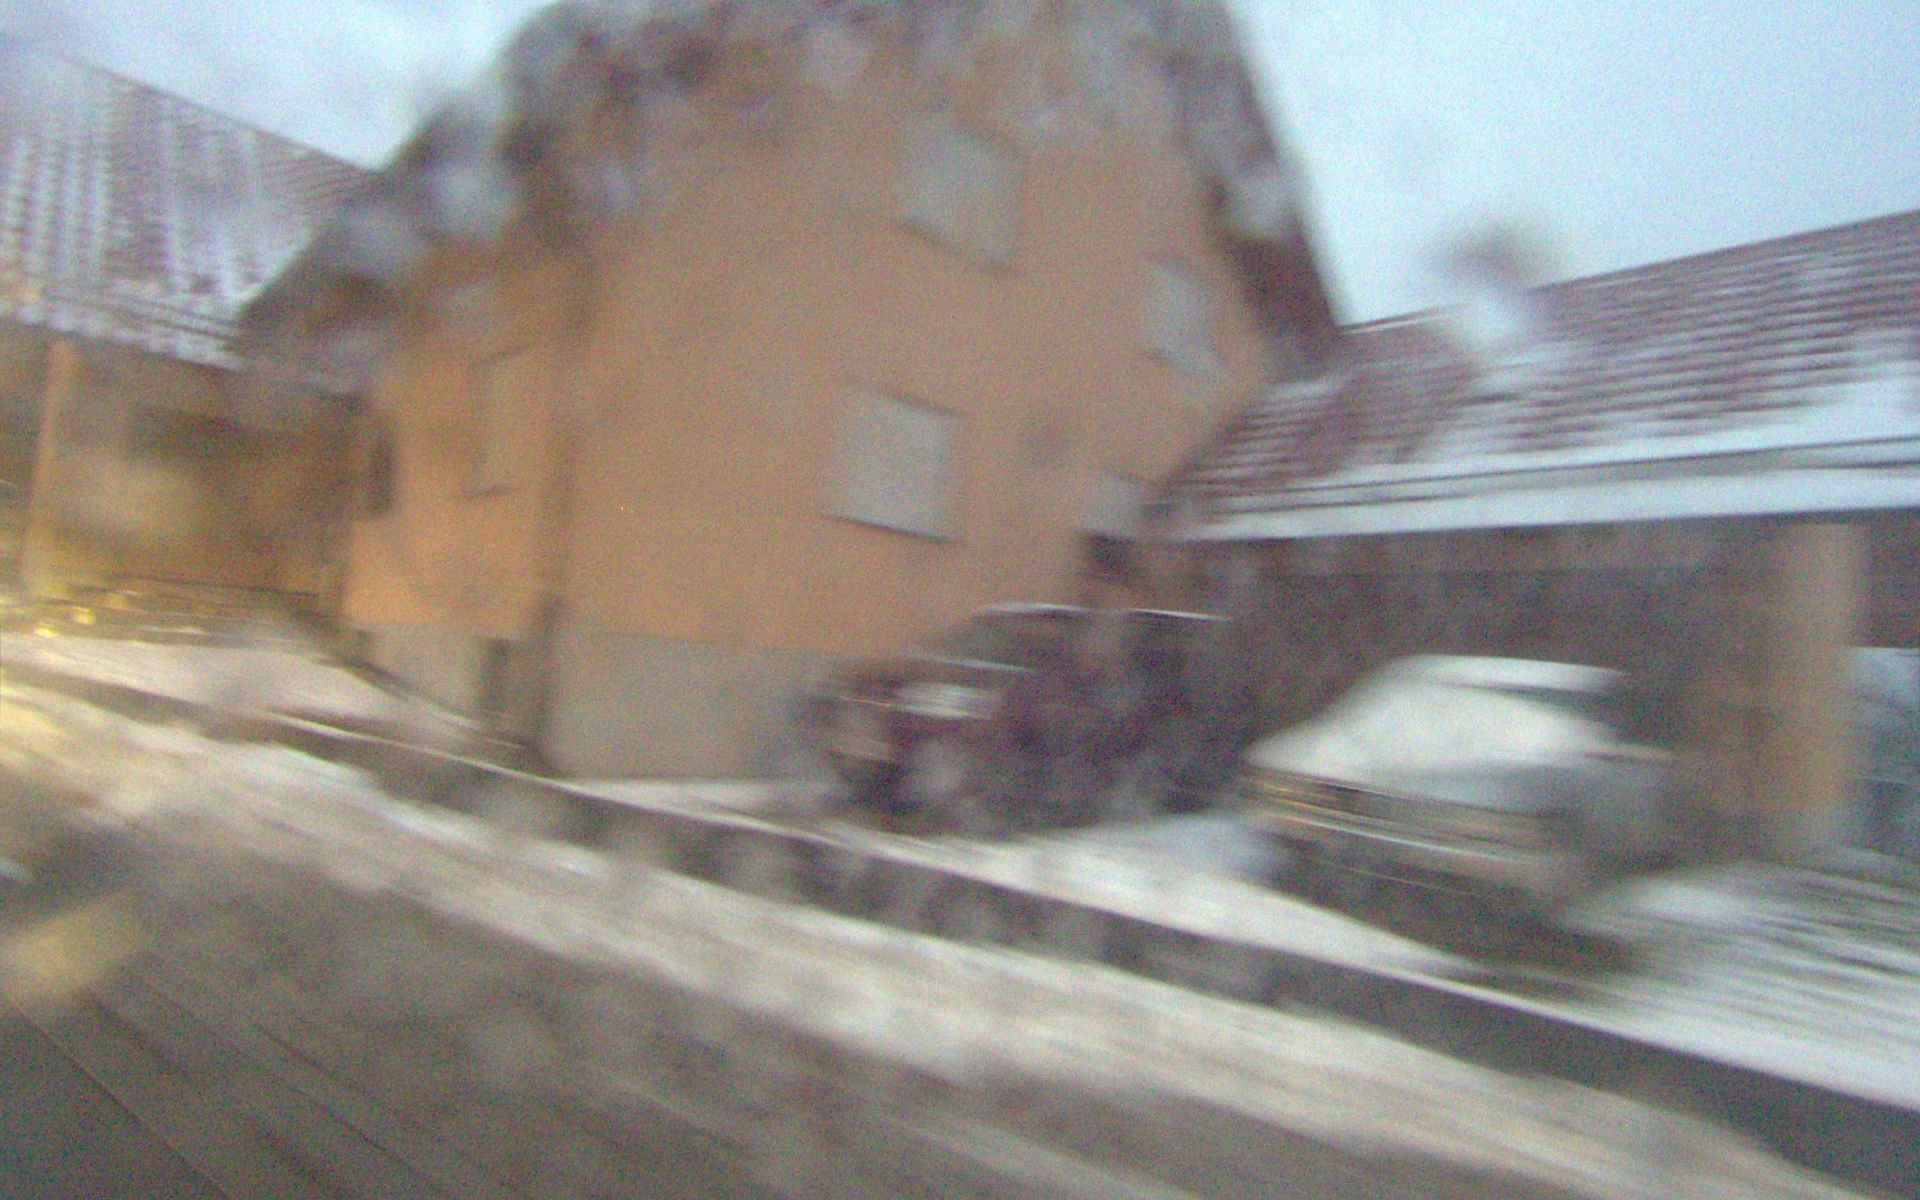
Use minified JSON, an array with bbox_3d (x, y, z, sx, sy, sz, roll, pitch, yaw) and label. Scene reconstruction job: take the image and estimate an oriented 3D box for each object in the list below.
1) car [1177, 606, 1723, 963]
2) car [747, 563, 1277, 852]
[{"bbox_3d":[3.622,1.063,7.026,4.228,1.578,1.975,6,0,-44],"label":"car"},{"bbox_3d":[0.652,0.752,7.941,1.919,1.578,4.151,6,-1,41],"label":"car"}]
